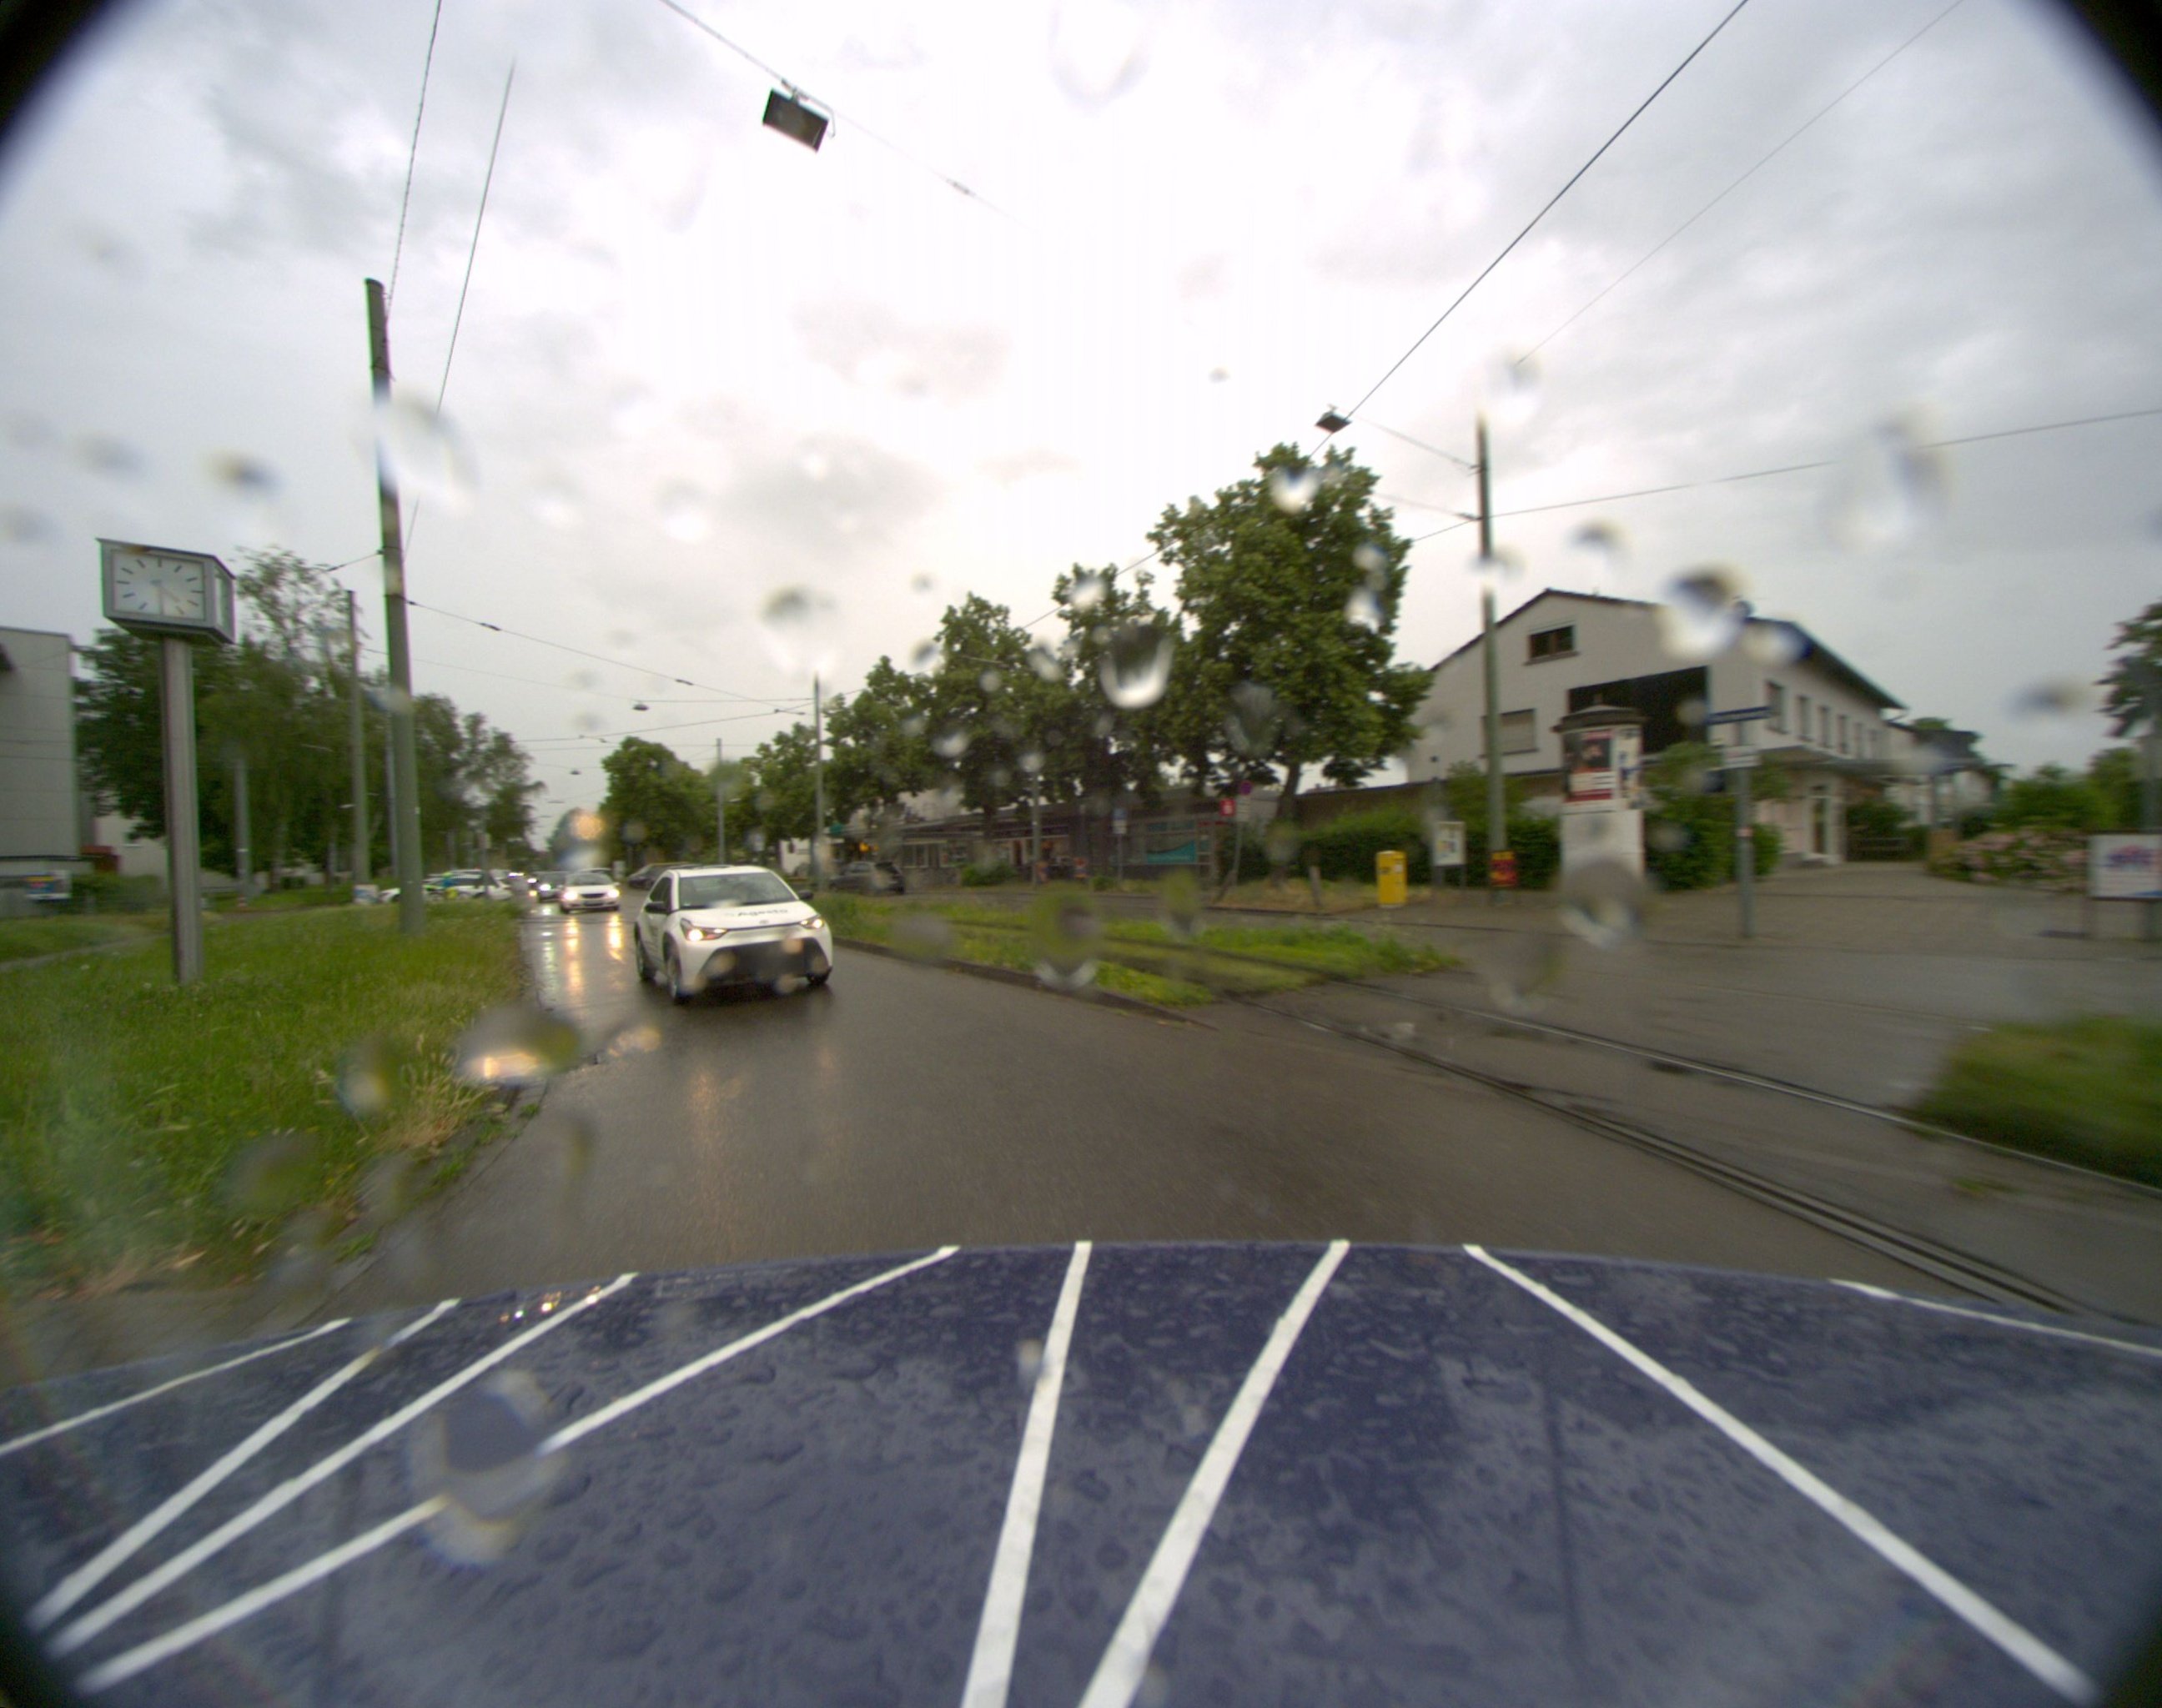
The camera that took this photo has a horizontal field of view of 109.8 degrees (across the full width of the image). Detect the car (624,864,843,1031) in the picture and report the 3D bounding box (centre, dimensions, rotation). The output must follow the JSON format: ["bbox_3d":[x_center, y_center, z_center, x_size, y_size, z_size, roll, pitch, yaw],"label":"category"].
[{"bbox_3d":[-4.570,1.039,9.684,1.723,1.614,3.706,-3,-1,-37],"label":"car"}]

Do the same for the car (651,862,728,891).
[{"bbox_3d":[-25.689,1.449,49.885,4.098,1.562,1.995,-4,1,-38],"label":"car"}]

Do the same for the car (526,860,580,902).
[{"bbox_3d":[-28.062,1.391,40.334,2.003,2.002,3.989,-5,2,-38],"label":"car"}]

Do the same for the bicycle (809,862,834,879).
[{"bbox_3d":[-16.495,1.053,48.291,1.746,1.066,0.595,-1,0,36],"label":"bicycle"}]

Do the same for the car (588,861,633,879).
[{"bbox_3d":[-59.872,2.043,96.712,4.557,1.932,1.894,-4,1,-38],"label":"car"}]

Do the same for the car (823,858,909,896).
[{"bbox_3d":[-9.282,1.006,32.785,3.613,1.495,1.554,-2,2,36],"label":"car"}]

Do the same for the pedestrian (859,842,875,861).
[{"bbox_3d":[-17.830,-0.199,63.168,1.081,1.575,0.946,-2,2,-26],"label":"pedestrian"}]

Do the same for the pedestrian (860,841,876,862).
[{"bbox_3d":[-17.415,-0.200,62.152,1.081,1.704,0.946,-2,2,-26],"label":"pedestrian"}]

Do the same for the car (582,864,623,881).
[{"bbox_3d":[-64.899,2.469,103.084,4.557,1.932,1.894,-4,1,-38],"label":"car"}]

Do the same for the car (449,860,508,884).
[{"bbox_3d":[-61.259,1.796,77.291,4.453,2.050,1.718,-5,2,-40],"label":"car"}]

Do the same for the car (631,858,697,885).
[{"bbox_3d":[-35.254,1.478,64.296,4.557,1.932,1.894,-4,1,-38],"label":"car"}]

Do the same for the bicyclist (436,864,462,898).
[{"bbox_3d":[-29.098,1.255,34.979,0.723,1.508,0.700,-3,0,34],"label":"bicyclist"}]

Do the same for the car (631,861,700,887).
[{"bbox_3d":[-30.799,1.466,56.358,4.098,1.699,1.894,-4,1,-38],"label":"car"}]

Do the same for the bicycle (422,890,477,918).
[{"bbox_3d":[-29.053,2.281,34.990,0.726,1.123,1.757,-3,0,35],"label":"bicycle"}]

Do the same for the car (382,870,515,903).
[{"bbox_3d":[-30.585,1.533,36.988,4.851,1.449,1.995,0,-1,-36],"label":"car"}]

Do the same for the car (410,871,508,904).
[{"bbox_3d":[-34.402,1.814,42.138,4.006,1.478,1.718,-4,2,-36],"label":"car"}]

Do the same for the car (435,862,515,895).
[{"bbox_3d":[-44.847,1.763,56.315,4.453,2.050,1.718,-5,2,-40],"label":"car"}]

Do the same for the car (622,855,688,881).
[{"bbox_3d":[-34.266,1.105,61.119,4.313,1.799,1.894,-4,1,-38],"label":"car"}]

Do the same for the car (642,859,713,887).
[{"bbox_3d":[-28.665,1.352,54.036,4.098,1.699,1.894,-4,1,-38],"label":"car"}]

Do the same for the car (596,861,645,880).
[{"bbox_3d":[-53.870,1.897,88.902,4.557,1.932,1.894,-4,1,-38],"label":"car"}]

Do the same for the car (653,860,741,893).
[{"bbox_3d":[-23.301,1.343,46.160,4.345,1.664,1.995,-4,1,-38],"label":"car"}]

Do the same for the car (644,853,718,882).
[{"bbox_3d":[-27.191,0.923,51.740,4.098,1.699,1.894,-4,1,-38],"label":"car"}]

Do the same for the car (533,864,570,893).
[{"bbox_3d":[-40.393,1.827,57.929,2.003,2.002,3.989,-5,2,-36],"label":"car"}]

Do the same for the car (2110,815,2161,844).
[{"bbox_3d":[68.864,-1.588,48.285,2.003,1.673,3.989,-5,2,-40],"label":"car"}]

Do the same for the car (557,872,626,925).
[{"bbox_3d":[-18.114,1.574,28.046,1.967,1.544,3.989,-3,3,-34],"label":"car"}]

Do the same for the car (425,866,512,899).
[{"bbox_3d":[-41.827,1.931,52.039,4.452,1.836,1.718,-4,2,-36],"label":"car"}]
